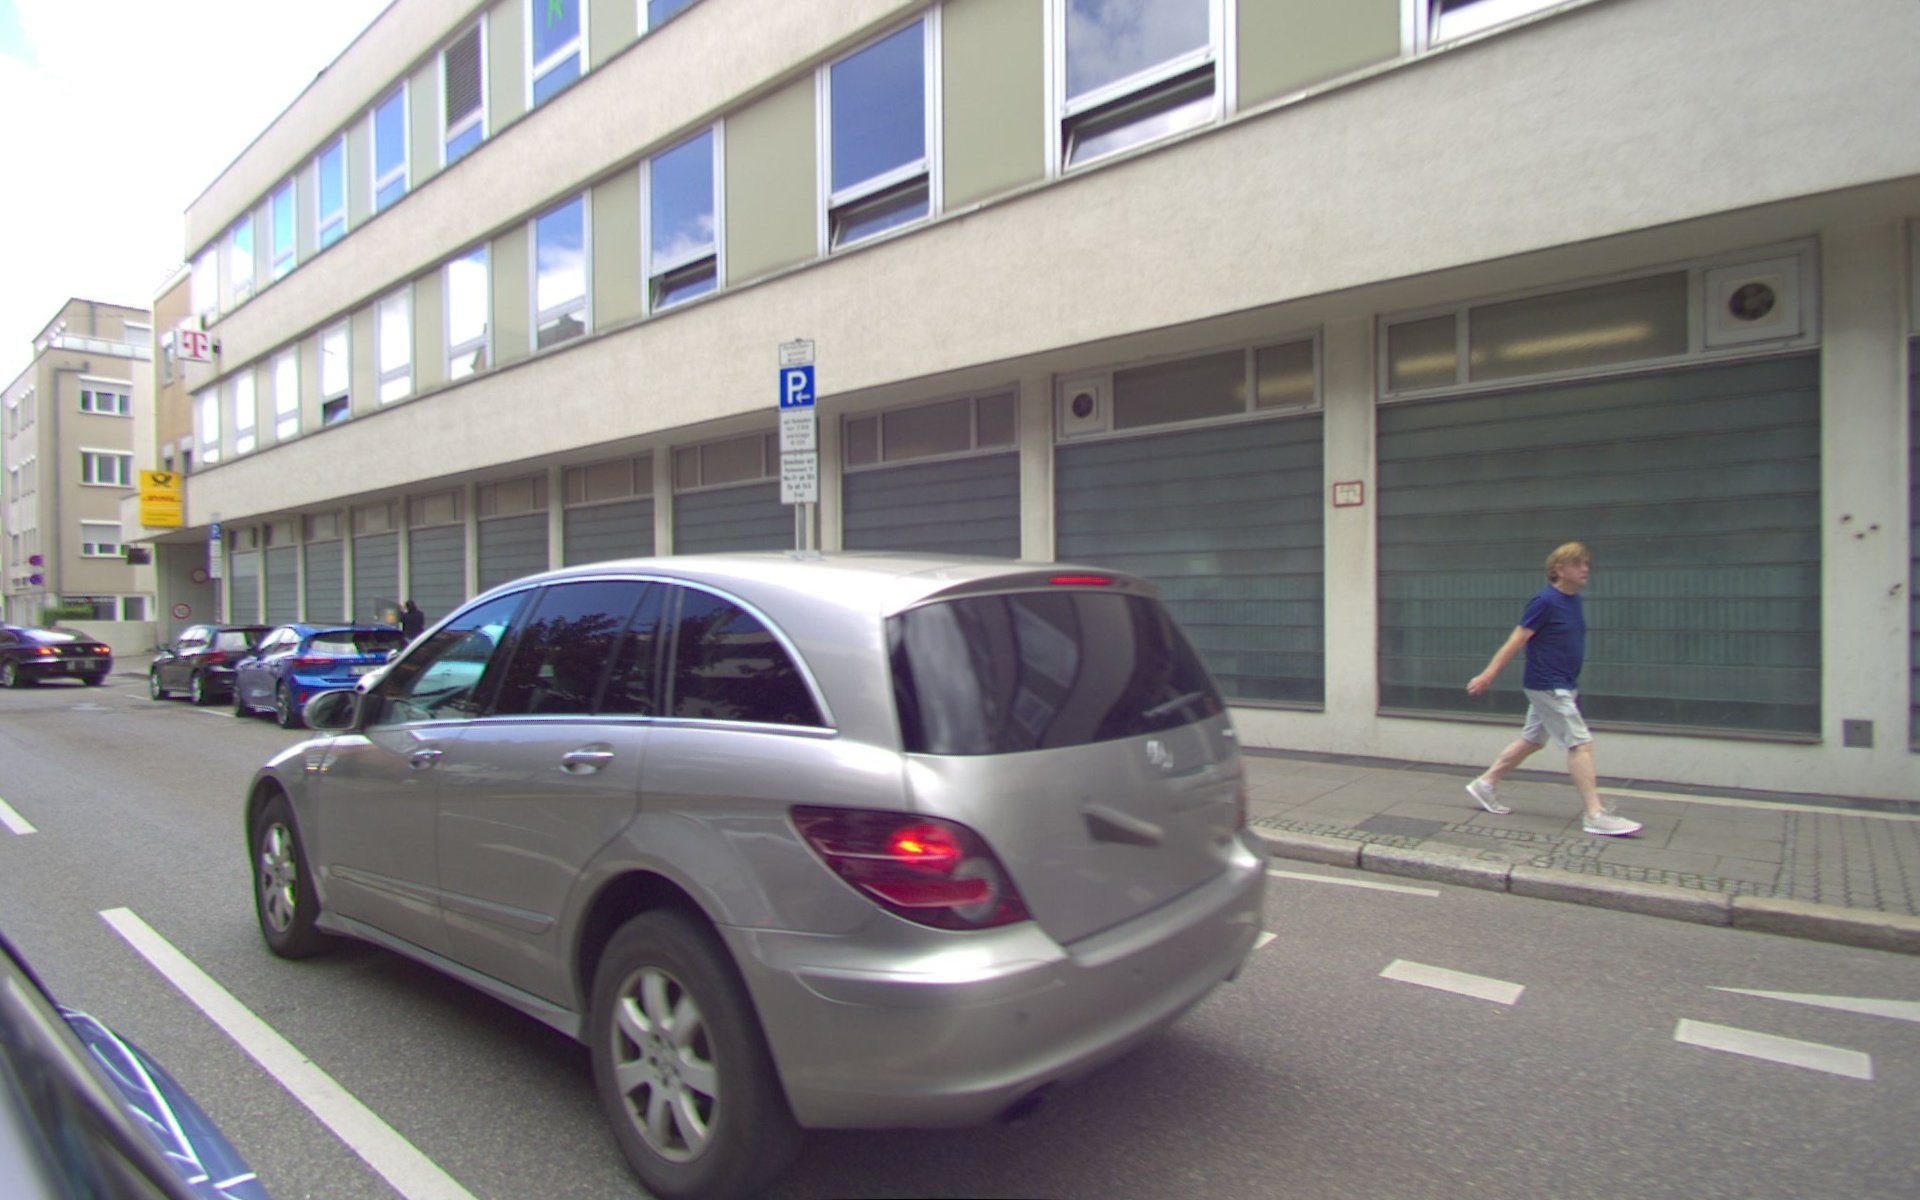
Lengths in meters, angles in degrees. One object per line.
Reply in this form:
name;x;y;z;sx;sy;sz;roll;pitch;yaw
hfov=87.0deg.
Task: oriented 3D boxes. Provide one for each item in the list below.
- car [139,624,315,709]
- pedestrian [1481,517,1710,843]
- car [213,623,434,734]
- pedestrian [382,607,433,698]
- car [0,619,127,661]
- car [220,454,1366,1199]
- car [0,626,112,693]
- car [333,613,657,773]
car;-13.822;1.185;19.026;3.866;1.436;1.699;-1;-2;39
pedestrian;3.723;0.433;5.953;1.054;1.731;0.583;-1;-1;39
car;-9.624;1.075;15.175;4.264;1.437;1.795;-2;-2;43
pedestrian;-10.740;1.005;19.684;0.642;1.731;0.589;-1;-1;9
car;-46.778;2.054;52.713;1.966;2.013;5.016;-2;-1;42
car;-1.167;0.630;3.911;4.766;1.644;1.757;-1;-1;41
car;-22.189;1.349;23.820;4.426;1.409;1.644;-1;0;24
car;-5.337;0.903;11.303;4.552;1.445;1.652;-2;-2;43
